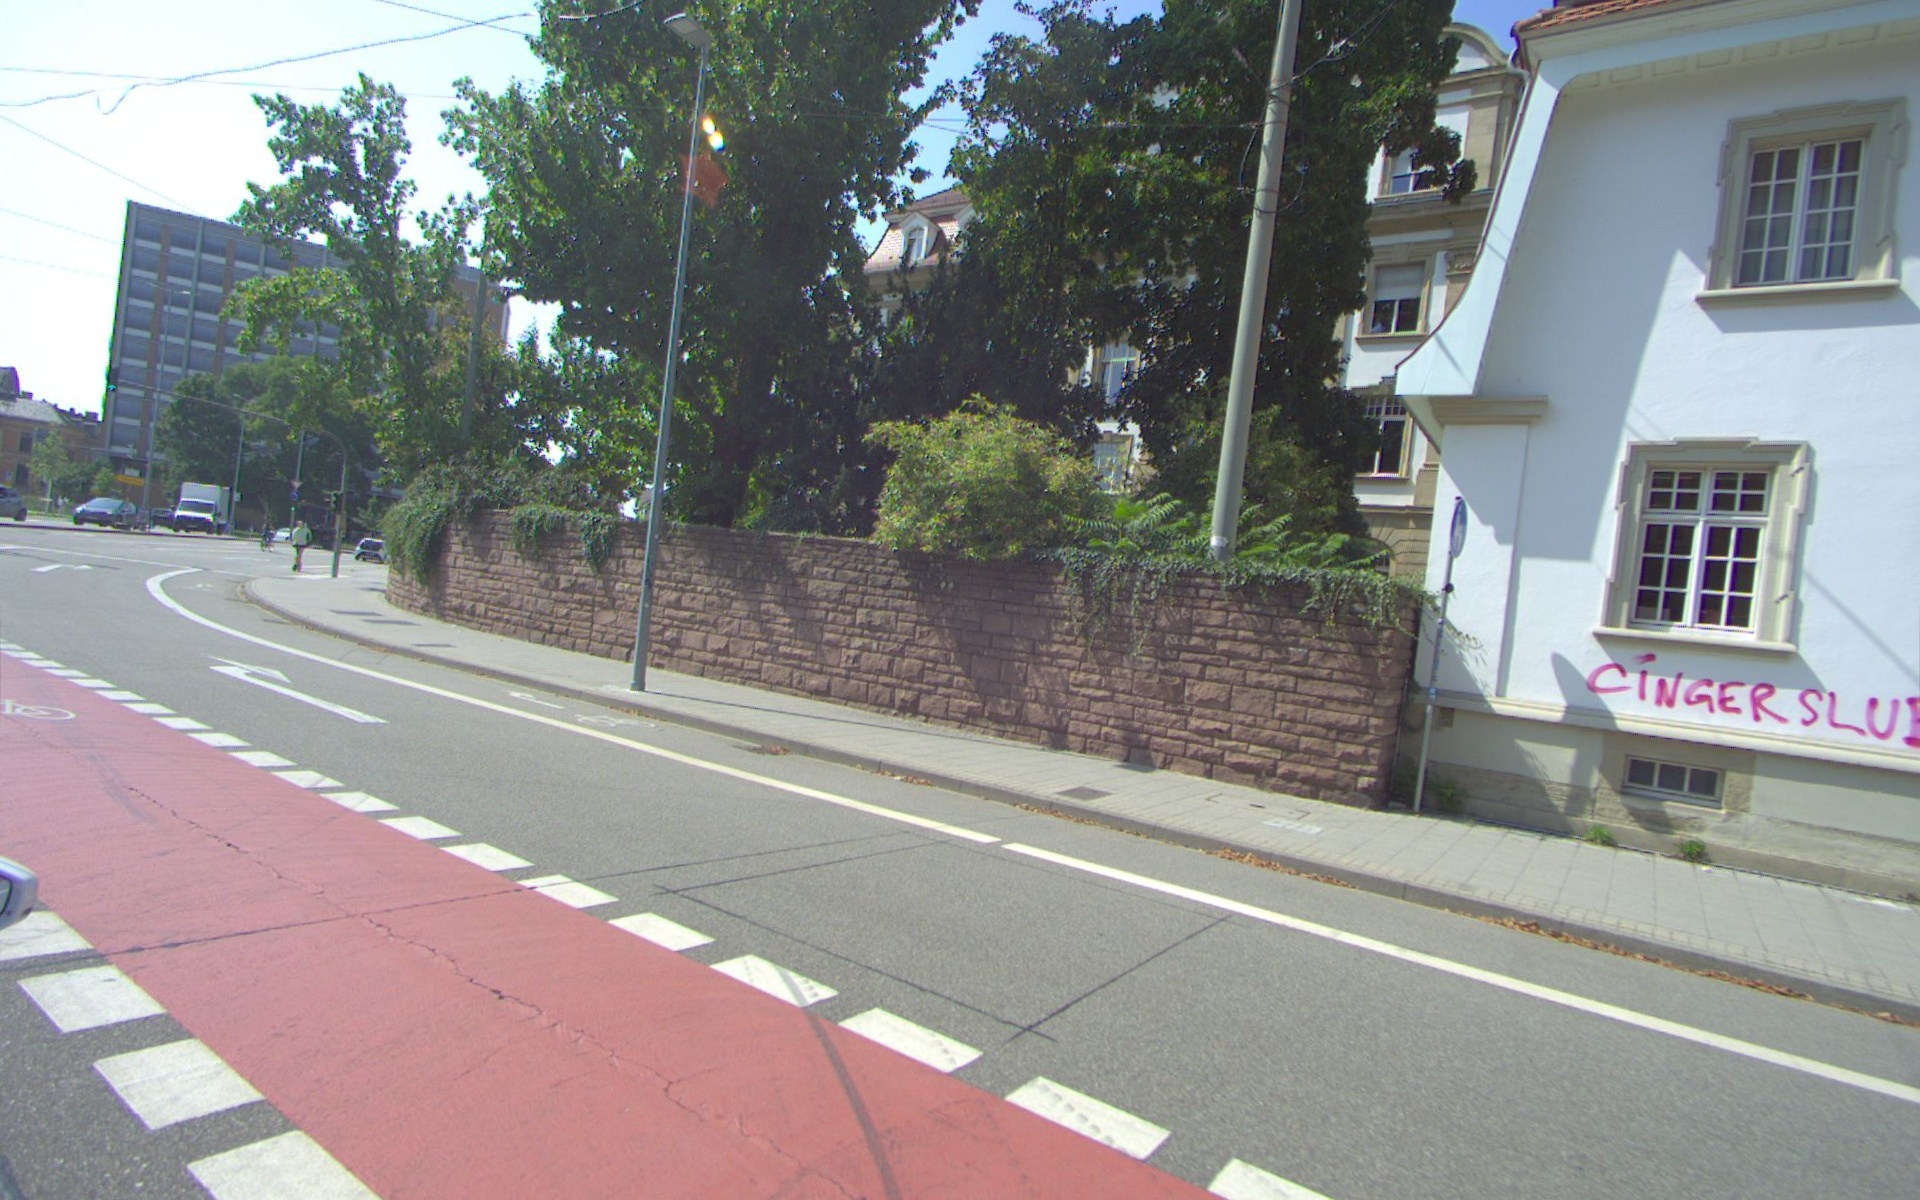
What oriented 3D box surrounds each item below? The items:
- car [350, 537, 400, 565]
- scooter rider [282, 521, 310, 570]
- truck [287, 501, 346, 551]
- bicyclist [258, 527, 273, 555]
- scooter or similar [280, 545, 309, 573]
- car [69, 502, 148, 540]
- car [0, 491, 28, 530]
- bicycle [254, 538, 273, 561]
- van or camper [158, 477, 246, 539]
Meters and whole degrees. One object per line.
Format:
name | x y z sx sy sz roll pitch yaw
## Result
car | -37.157 -3.089 64.009 1.821 1.408 3.986 7 -1 -18
scooter rider | -25.847 -2.108 39.168 0.756 1.797 0.550 6 0 -32
truck | -47.725 -5.423 74.731 2.672 3.025 5.930 7 -1 -26
bicyclist | -37.396 -3.149 54.156 0.445 1.439 0.493 6 0 -22
scooter or similar | -25.844 -1.598 39.087 0.767 0.937 1.607 7 -1 -31
car | -44.208 -4.075 52.308 1.678 1.549 4.164 6 -1 -20
car | -40.920 -3.870 41.682 1.631 1.549 4.309 6 -1 -18
bicycle | -37.392 -2.693 54.020 0.439 1.130 1.439 6 0 -22
van or camper | -49.818 -5.955 66.335 2.374 3.347 7.158 6 -1 -20
